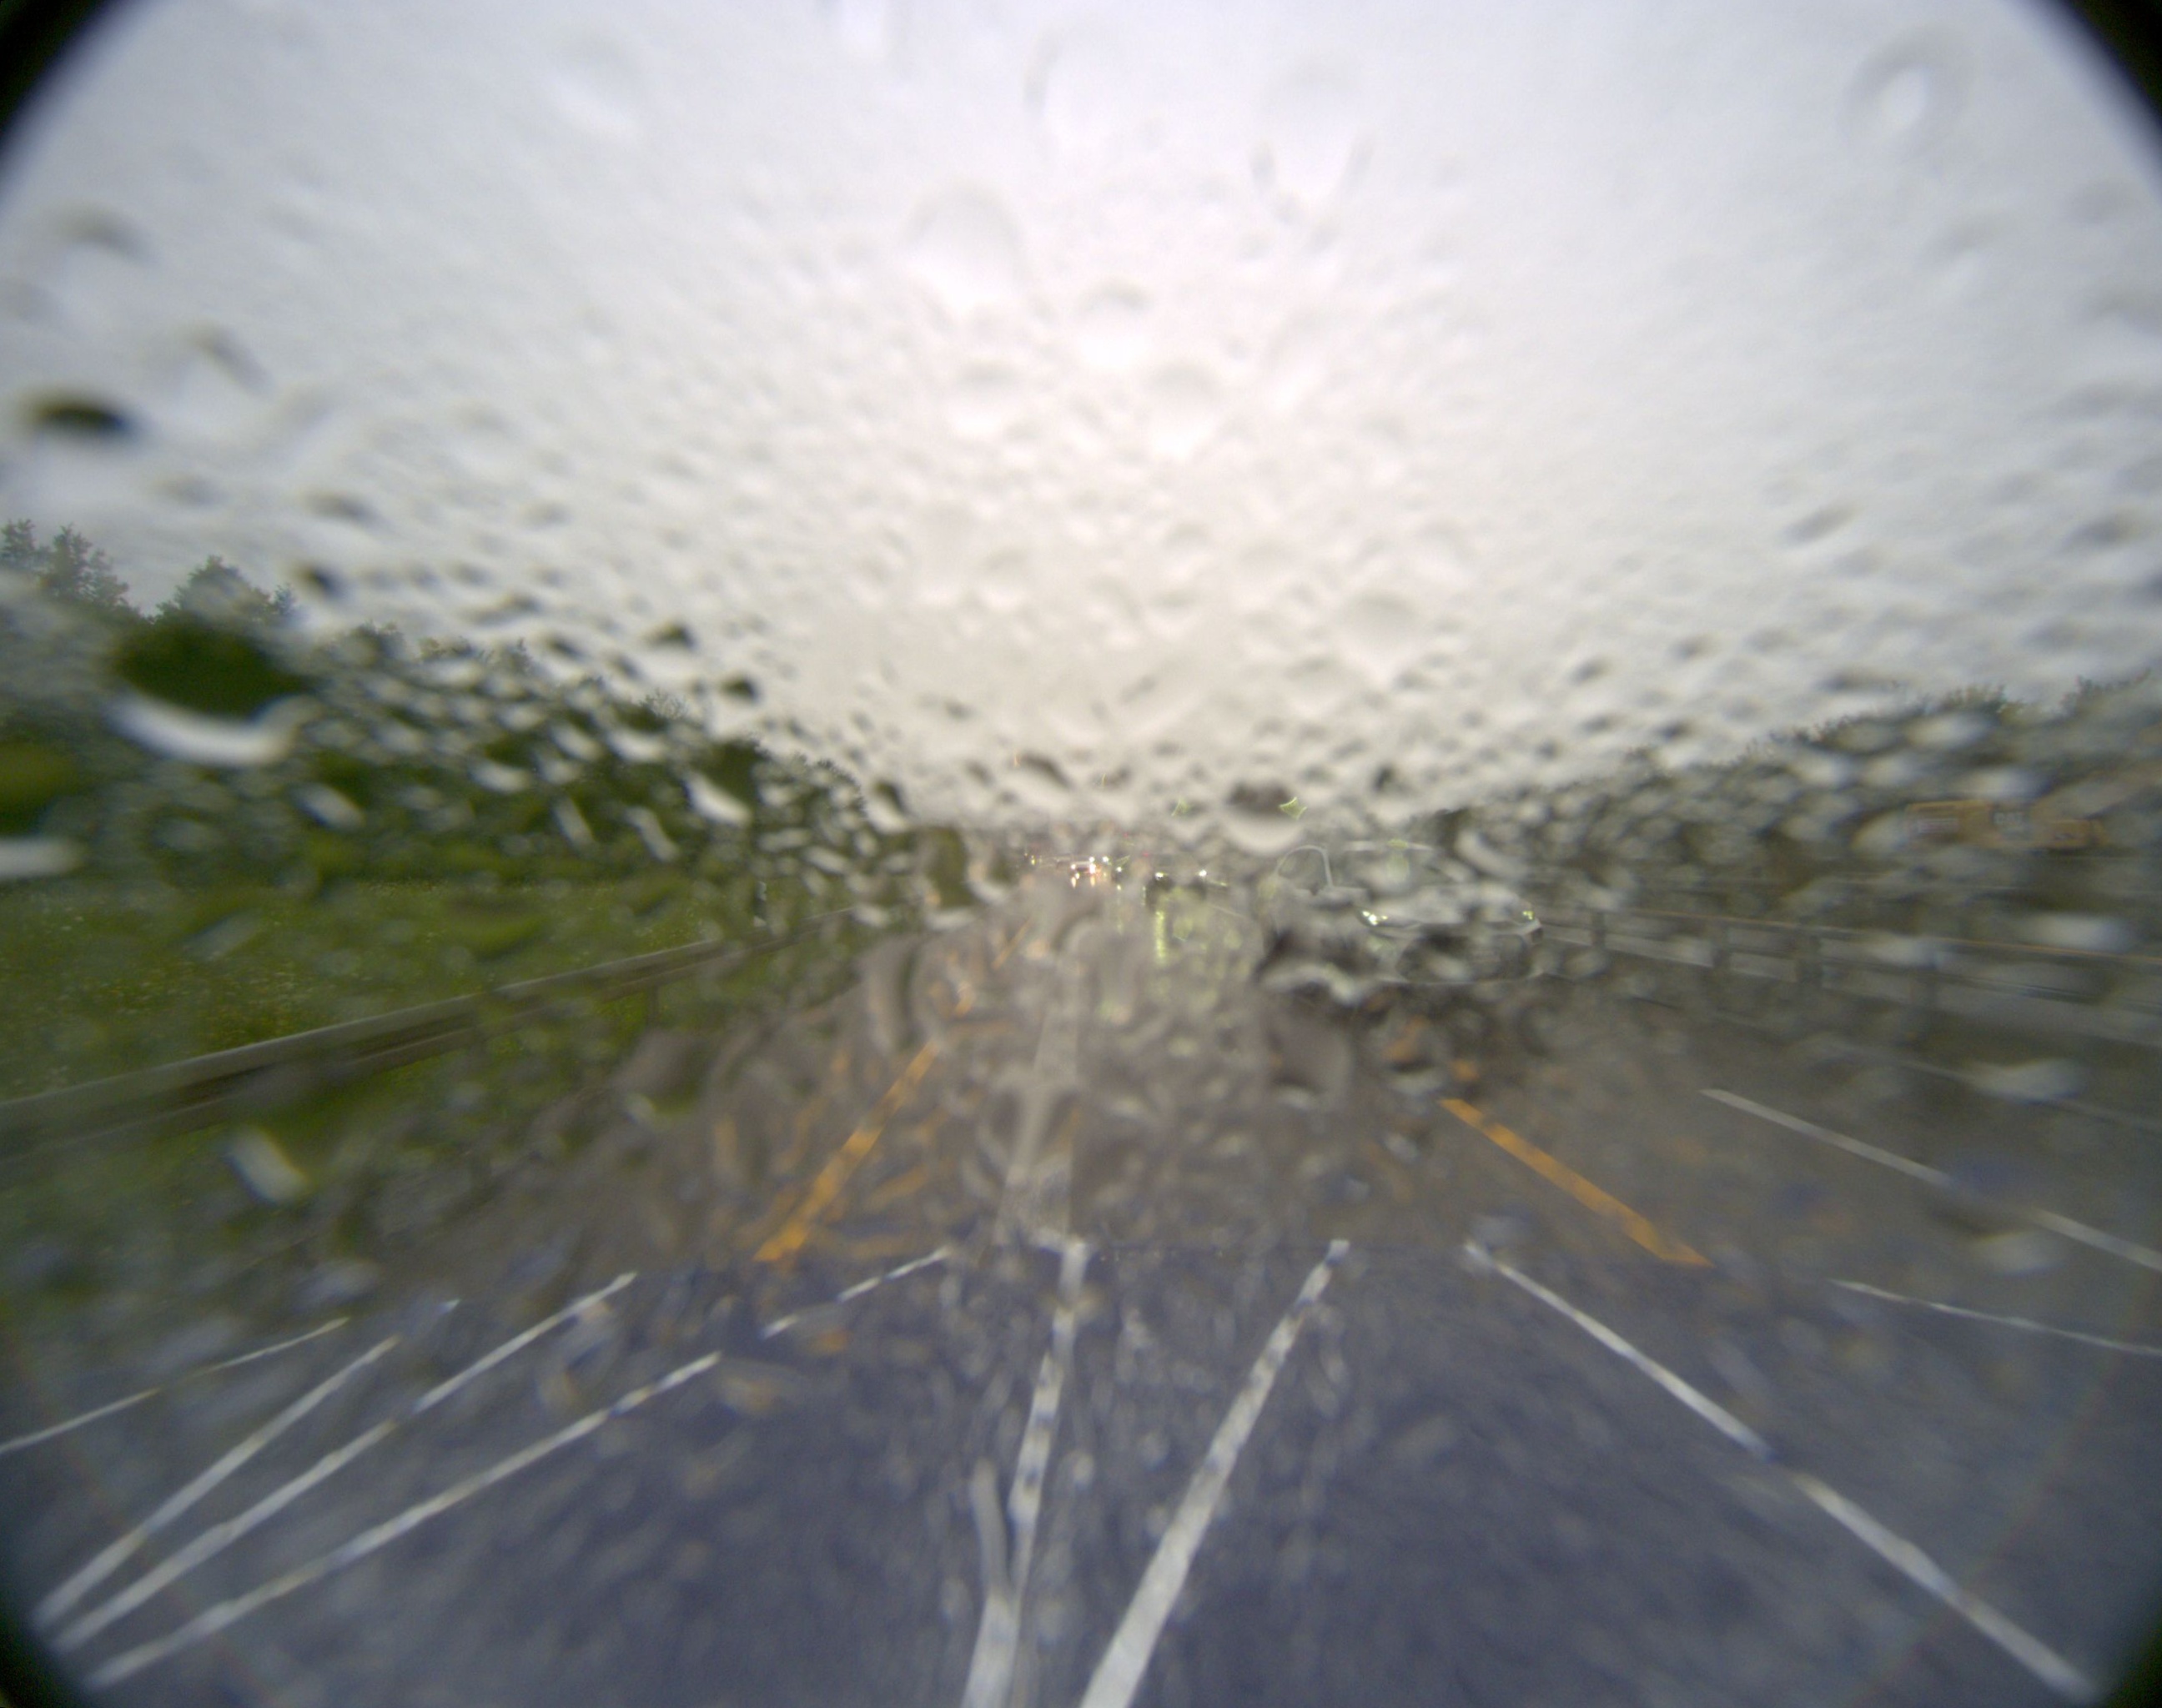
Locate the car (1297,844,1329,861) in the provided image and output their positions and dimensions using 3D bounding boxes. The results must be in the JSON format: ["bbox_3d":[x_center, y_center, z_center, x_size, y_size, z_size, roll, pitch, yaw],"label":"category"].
[{"bbox_3d":[28.558,-0.196,93.839,2.099,1.955,5.363,-2,1,-3],"label":"car"}]

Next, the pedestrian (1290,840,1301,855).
[{"bbox_3d":[31.368,-0.944,111.146,1.108,2.002,1.125,-3,1,-5],"label":"pedestrian"}]

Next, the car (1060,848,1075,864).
[{"bbox_3d":[-1.578,0.187,86.567,1.674,1.804,3.998,-1,1,-2],"label":"car"}]

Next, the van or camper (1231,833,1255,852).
[{"bbox_3d":[39.583,-2.865,186.444,3.376,4.299,8.502,-3,1,-4],"label":"van or camper"}]

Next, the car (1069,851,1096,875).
[{"bbox_3d":[0.090,0.706,60.613,1.882,1.772,3.998,-1,1,-4],"label":"car"}]

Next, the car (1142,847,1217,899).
[{"bbox_3d":[3.380,0.578,27.118,2.069,1.618,5.195,-2,1,1],"label":"car"}]

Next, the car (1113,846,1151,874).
[{"bbox_3d":[2.920,0.307,44.315,1.792,1.481,3.999,-3,1,-1],"label":"car"}]

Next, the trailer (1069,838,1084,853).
[{"bbox_3d":[-1.363,-2.345,209.051,2.608,4.054,12.422,-2,1,-7],"label":"trailer"}]

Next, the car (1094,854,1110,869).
[{"bbox_3d":[2.297,0.802,85.168,1.590,1.528,3.830,-1,1,-2],"label":"car"}]

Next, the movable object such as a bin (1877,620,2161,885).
[{"bbox_3d":[26.134,-2.348,17.508,4.181,5.881,11.045,-3,1,3],"label":"movable object such as a bin"}]

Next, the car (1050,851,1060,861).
[{"bbox_3d":[-4.935,0.419,143.427,1.674,1.804,3.998,-1,1,-3],"label":"car"}]

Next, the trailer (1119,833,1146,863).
[{"bbox_3d":[7.331,-0.827,109.230,2.915,4.065,12.219,-1,0,0],"label":"trailer"}]

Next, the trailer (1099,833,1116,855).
[{"bbox_3d":[5.001,-1.952,145.837,2.501,4.026,12.583,-1,1,-2],"label":"trailer"}]

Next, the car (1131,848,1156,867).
[{"bbox_3d":[5.689,0.322,69.849,1.806,1.584,4.183,-3,1,-1],"label":"car"}]

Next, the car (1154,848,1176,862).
[{"bbox_3d":[9.524,0.066,86.657,1.999,1.497,4.295,-2,1,-1],"label":"car"}]

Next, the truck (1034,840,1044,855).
[{"bbox_3d":[-11.718,-1.878,213.877,2.507,4.067,15.195,-3,1,-2],"label":"truck"}]

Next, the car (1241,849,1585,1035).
[{"bbox_3d":[3.383,0.741,9.025,1.932,1.542,5.006,-1,1,1],"label":"car"}]
